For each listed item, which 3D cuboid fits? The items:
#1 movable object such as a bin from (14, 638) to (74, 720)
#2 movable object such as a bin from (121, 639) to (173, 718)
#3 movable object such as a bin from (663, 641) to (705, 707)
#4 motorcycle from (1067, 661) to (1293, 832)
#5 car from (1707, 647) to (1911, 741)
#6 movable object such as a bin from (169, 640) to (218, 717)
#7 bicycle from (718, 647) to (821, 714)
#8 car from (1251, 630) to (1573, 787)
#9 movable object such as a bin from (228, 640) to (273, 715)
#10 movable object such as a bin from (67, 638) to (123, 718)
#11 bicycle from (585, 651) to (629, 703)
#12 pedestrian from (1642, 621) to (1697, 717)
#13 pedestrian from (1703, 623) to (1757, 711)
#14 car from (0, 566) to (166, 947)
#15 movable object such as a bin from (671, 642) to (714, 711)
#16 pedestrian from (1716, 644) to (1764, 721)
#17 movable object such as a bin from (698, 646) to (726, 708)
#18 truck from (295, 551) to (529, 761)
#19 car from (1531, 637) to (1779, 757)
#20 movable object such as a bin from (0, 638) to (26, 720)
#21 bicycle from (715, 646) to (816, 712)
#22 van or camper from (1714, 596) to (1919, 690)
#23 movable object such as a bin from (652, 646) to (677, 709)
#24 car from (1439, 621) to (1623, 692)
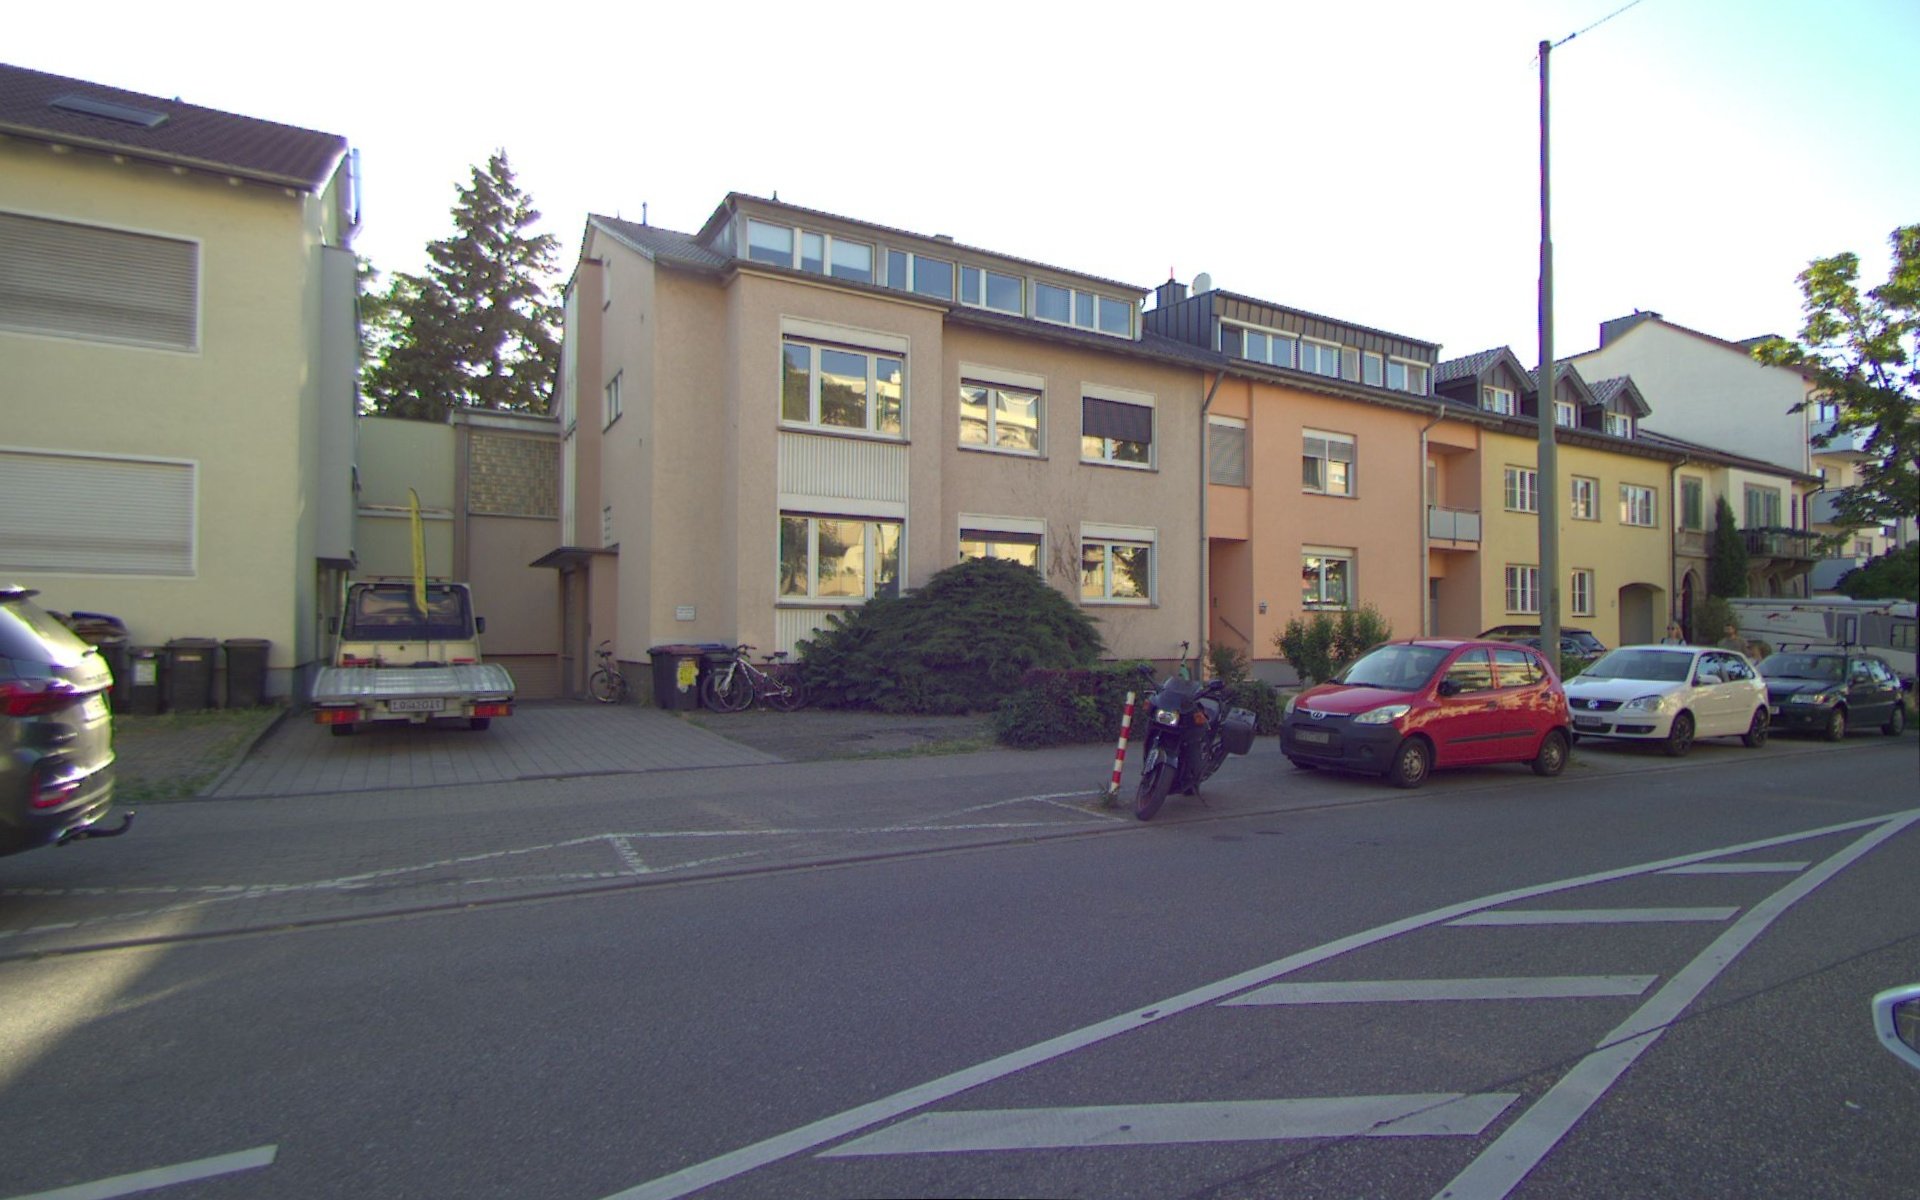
[{"bbox_3d":[-11.910,1.015,13.069,0.445,1.032,0.500,1,-2,-30],"label":"movable object such as a bin"},{"bbox_3d":[-11.007,1.053,13.611,0.445,1.032,0.500,1,-2,-30],"label":"movable object such as a bin"},{"bbox_3d":[-4.705,1.248,17.095,0.579,1.104,0.486,1,-2,-30],"label":"movable object such as a bin"},{"bbox_3d":[2.073,1.216,9.137,1.164,1.282,2.362,-1,-3,36],"label":"motorcycle"},{"bbox_3d":[14.378,1.516,16.981,3.623,1.415,1.536,2,-2,-30],"label":"car"},{"bbox_3d":[-10.566,1.072,13.856,0.445,1.032,0.500,1,-2,-30],"label":"movable object such as a bin"},{"bbox_3d":[-3.218,1.349,17.026,1.691,1.100,0.331,2,-2,-31],"label":"bicycle"},{"bbox_3d":[5.136,1.129,11.385,3.392,1.543,1.587,2,-2,-27],"label":"car"},{"bbox_3d":[-10.035,1.088,14.217,0.445,1.032,0.500,1,-2,-30],"label":"movable object such as a bin"},{"bbox_3d":[-11.481,1.028,13.341,0.445,1.032,0.500,1,-2,-30],"label":"movable object such as a bin"},{"bbox_3d":[-6.717,1.475,19.093,0.582,0.942,1.589,1,-5,-27],"label":"bicycle"},{"bbox_3d":[13.790,1.327,19.544,0.499,1.816,0.711,1,-2,-27],"label":"pedestrian"},{"bbox_3d":[16.146,1.396,21.077,0.564,1.816,0.711,1,-2,-27],"label":"pedestrian"},{"bbox_3d":[-6.729,0.709,4.530,4.673,1.802,1.877,2,-2,-32],"label":"car"},{"bbox_3d":[-4.404,1.248,16.527,0.579,1.104,0.486,1,-2,-30],"label":"movable object such as a bin"},{"bbox_3d":[15.761,1.647,20.293,0.535,1.515,0.588,1,-2,-27],"label":"pedestrian"},{"bbox_3d":[-4.287,1.318,17.376,0.345,1.051,0.433,1,-2,-30],"label":"movable object such as a bin"},{"bbox_3d":[-7.712,0.704,14.184,2.249,2.214,6.864,2,-2,-29],"label":"truck"},{"bbox_3d":[10.236,1.335,14.739,3.847,1.543,1.585,2,-2,-31],"label":"car"},{"bbox_3d":[-12.321,1.002,12.833,0.445,1.032,0.500,1,-2,-30],"label":"movable object such as a bin"},{"bbox_3d":[-3.354,1.348,17.371,1.691,1.100,0.331,2,-2,-31],"label":"bicycle"},{"bbox_3d":[29.326,1.358,33.078,2.325,2.810,6.764,2,0,-30],"label":"van or camper"},{"bbox_3d":[-5.050,1.312,17.150,0.285,1.051,0.501,1,-2,-30],"label":"movable object such as a bin"},{"bbox_3d":[15.367,1.474,27.241,1.843,1.657,3.970,2,0,-28],"label":"car"}]
